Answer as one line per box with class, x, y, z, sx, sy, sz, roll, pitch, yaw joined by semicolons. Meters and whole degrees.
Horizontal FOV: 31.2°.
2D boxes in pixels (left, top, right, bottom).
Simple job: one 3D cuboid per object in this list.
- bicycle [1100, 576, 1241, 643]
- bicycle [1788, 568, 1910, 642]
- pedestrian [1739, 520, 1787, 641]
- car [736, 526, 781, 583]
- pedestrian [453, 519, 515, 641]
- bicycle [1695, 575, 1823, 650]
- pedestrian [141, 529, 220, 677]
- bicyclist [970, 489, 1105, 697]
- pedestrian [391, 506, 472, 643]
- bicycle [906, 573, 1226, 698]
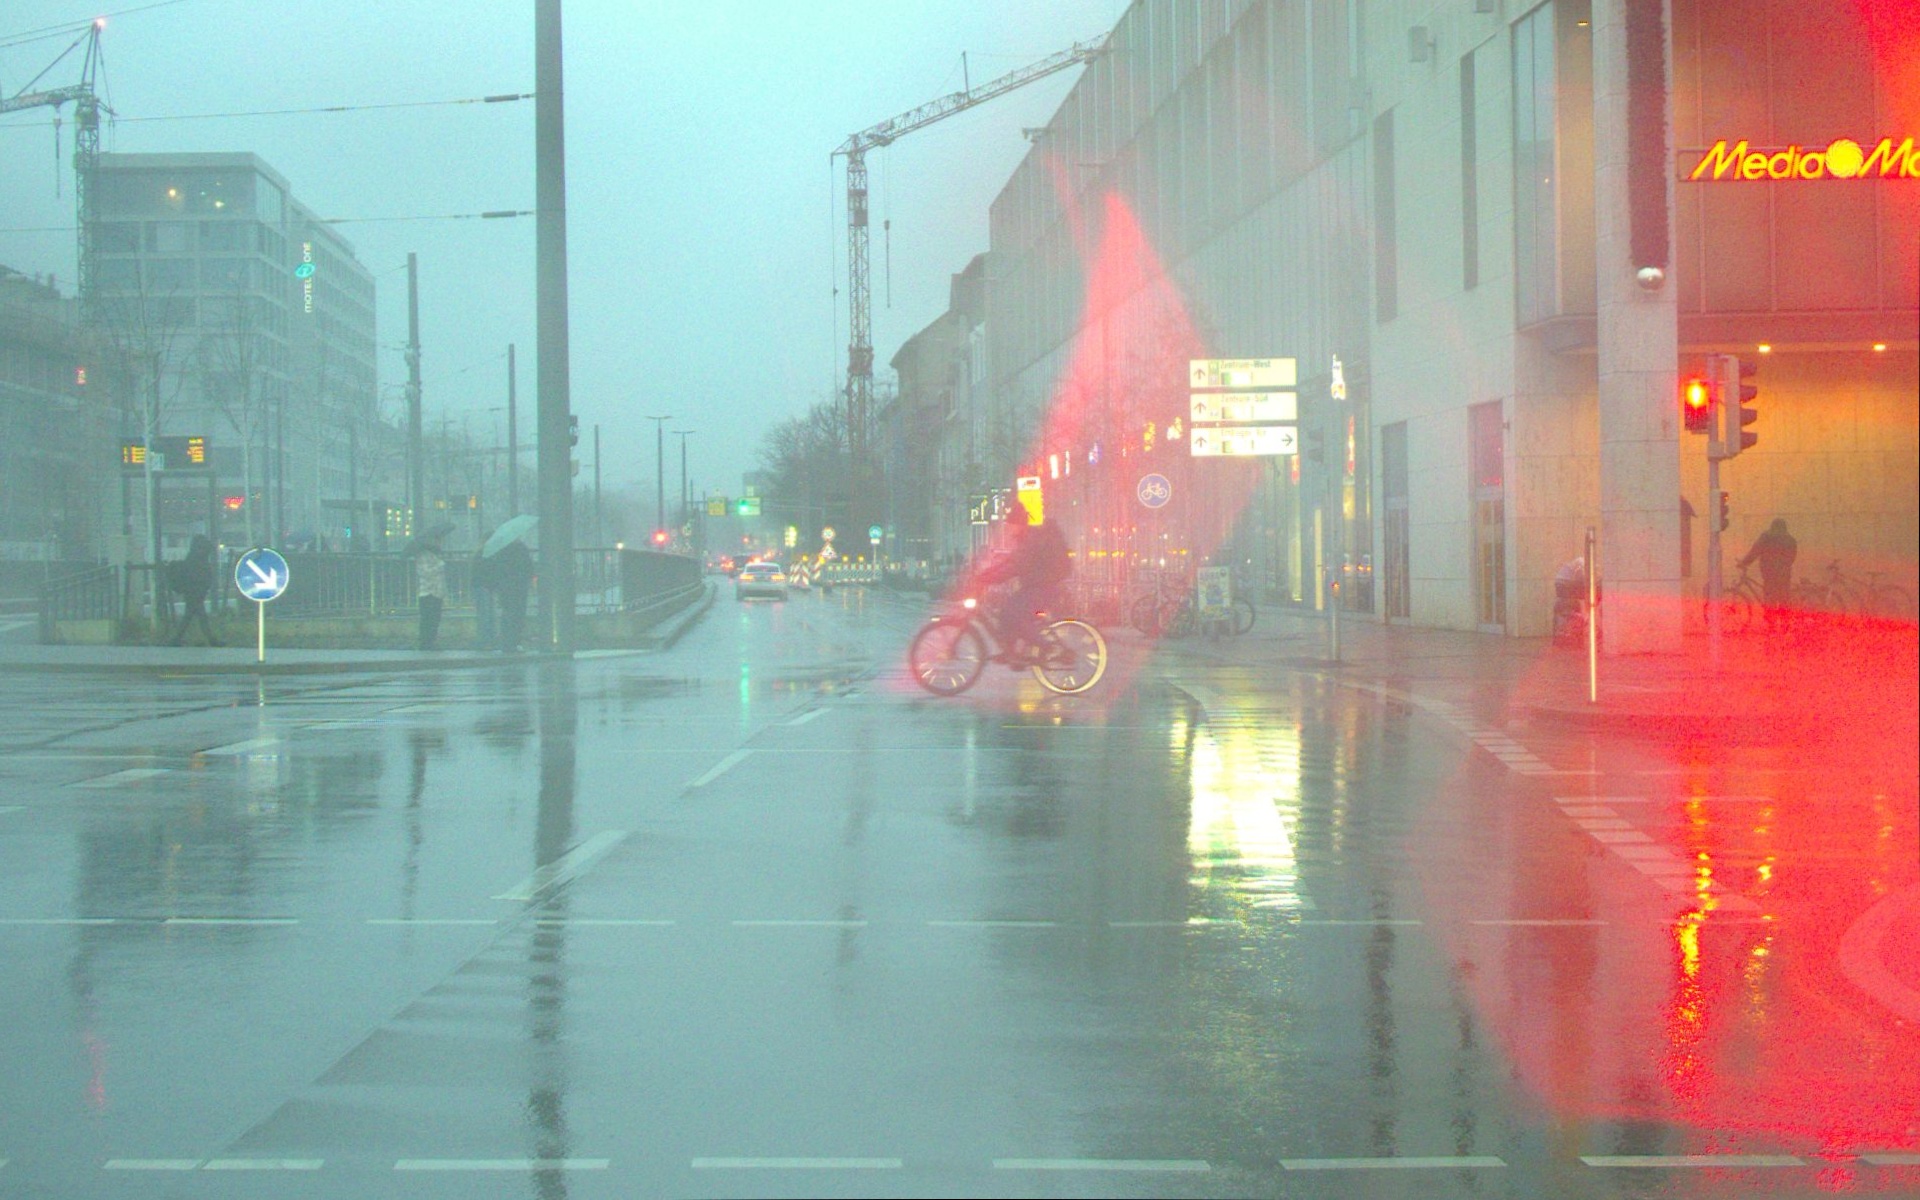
bicycle;3.758;0.170;61.538;2.442;1.150;0.674;-1;0;-1
bicycle;13.137;0.065;50.809;1.646;1.066;0.525;1;0;-4
pedestrian;11.616;-0.280;49.735;0.600;1.739;0.524;1;0;8
car;-7.322;-1.663;125.067;1.577;2.007;3.172;-1;1;-3
pedestrian;-6.652;-0.282;47.999;0.612;1.680;0.577;1;1;42
bicycle;11.691;0.185;50.318;1.768;1.066;0.524;1;0;8
pedestrian;-10.740;0.036;47.362;0.785;2.007;0.726;1;1;42
bicyclist;0.706;-0.068;31.527;1.156;1.865;0.745;1;0;-4
pedestrian;-7.148;-0.340;46.479;0.821;1.825;0.786;1;0;-31
bicycle;0.959;0.324;31.557;2.856;1.095;0.745;1;0;-4
